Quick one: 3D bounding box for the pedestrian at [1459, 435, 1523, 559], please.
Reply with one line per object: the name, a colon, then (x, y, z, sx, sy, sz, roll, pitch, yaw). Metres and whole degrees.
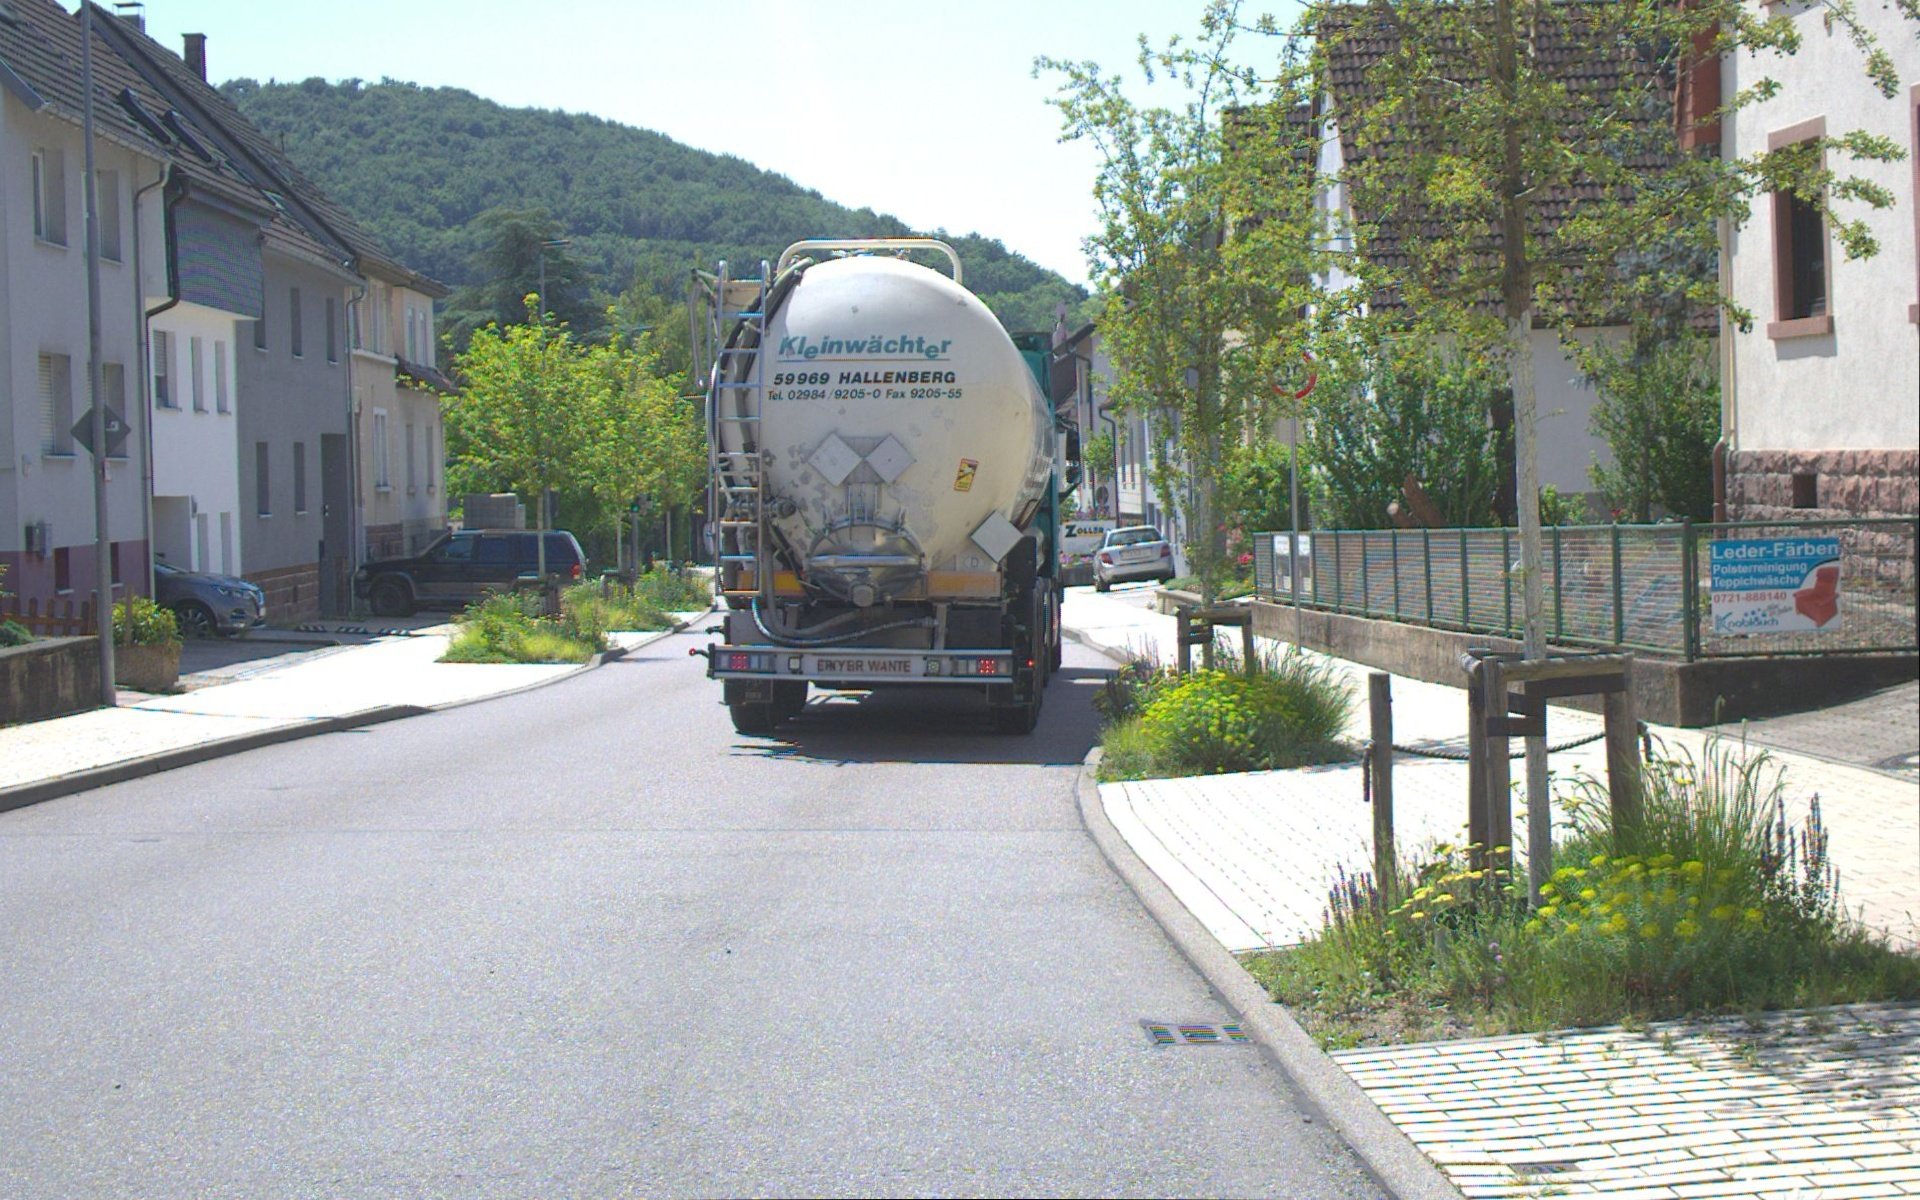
pedestrian: (7.176, -1.385, 46.493, 0.604, 1.610, 0.552, -6, 1, -1)

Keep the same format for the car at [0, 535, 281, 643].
car: (-12.242, -0.175, 50.976, 3.987, 1.540, 1.832, 0, 1, -1)

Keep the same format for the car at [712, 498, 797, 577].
car: (-5.133, -1.583, 86.212, 1.889, 1.854, 4.578, 3, 1, -2)

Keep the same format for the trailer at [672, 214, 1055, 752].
trailer: (-0.581, -0.958, 30.756, 2.796, 3.987, 10.323, 0, 1, 2)

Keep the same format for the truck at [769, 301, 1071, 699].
truck: (-0.304, -1.044, 37.135, 2.809, 3.923, 6.098, 0, 1, 4)

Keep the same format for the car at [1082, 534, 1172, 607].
car: (3.878, -0.711, 80.407, 1.791, 1.536, 4.520, -4, 1, 0)

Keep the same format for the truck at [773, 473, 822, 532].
truck: (-9.428, -5.639, 200.010, 2.728, 3.360, 8.635, 0, 1, -2)

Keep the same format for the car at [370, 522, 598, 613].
car: (-9.622, -0.673, 69.768, 4.394, 1.744, 1.878, -1, 1, -2)
